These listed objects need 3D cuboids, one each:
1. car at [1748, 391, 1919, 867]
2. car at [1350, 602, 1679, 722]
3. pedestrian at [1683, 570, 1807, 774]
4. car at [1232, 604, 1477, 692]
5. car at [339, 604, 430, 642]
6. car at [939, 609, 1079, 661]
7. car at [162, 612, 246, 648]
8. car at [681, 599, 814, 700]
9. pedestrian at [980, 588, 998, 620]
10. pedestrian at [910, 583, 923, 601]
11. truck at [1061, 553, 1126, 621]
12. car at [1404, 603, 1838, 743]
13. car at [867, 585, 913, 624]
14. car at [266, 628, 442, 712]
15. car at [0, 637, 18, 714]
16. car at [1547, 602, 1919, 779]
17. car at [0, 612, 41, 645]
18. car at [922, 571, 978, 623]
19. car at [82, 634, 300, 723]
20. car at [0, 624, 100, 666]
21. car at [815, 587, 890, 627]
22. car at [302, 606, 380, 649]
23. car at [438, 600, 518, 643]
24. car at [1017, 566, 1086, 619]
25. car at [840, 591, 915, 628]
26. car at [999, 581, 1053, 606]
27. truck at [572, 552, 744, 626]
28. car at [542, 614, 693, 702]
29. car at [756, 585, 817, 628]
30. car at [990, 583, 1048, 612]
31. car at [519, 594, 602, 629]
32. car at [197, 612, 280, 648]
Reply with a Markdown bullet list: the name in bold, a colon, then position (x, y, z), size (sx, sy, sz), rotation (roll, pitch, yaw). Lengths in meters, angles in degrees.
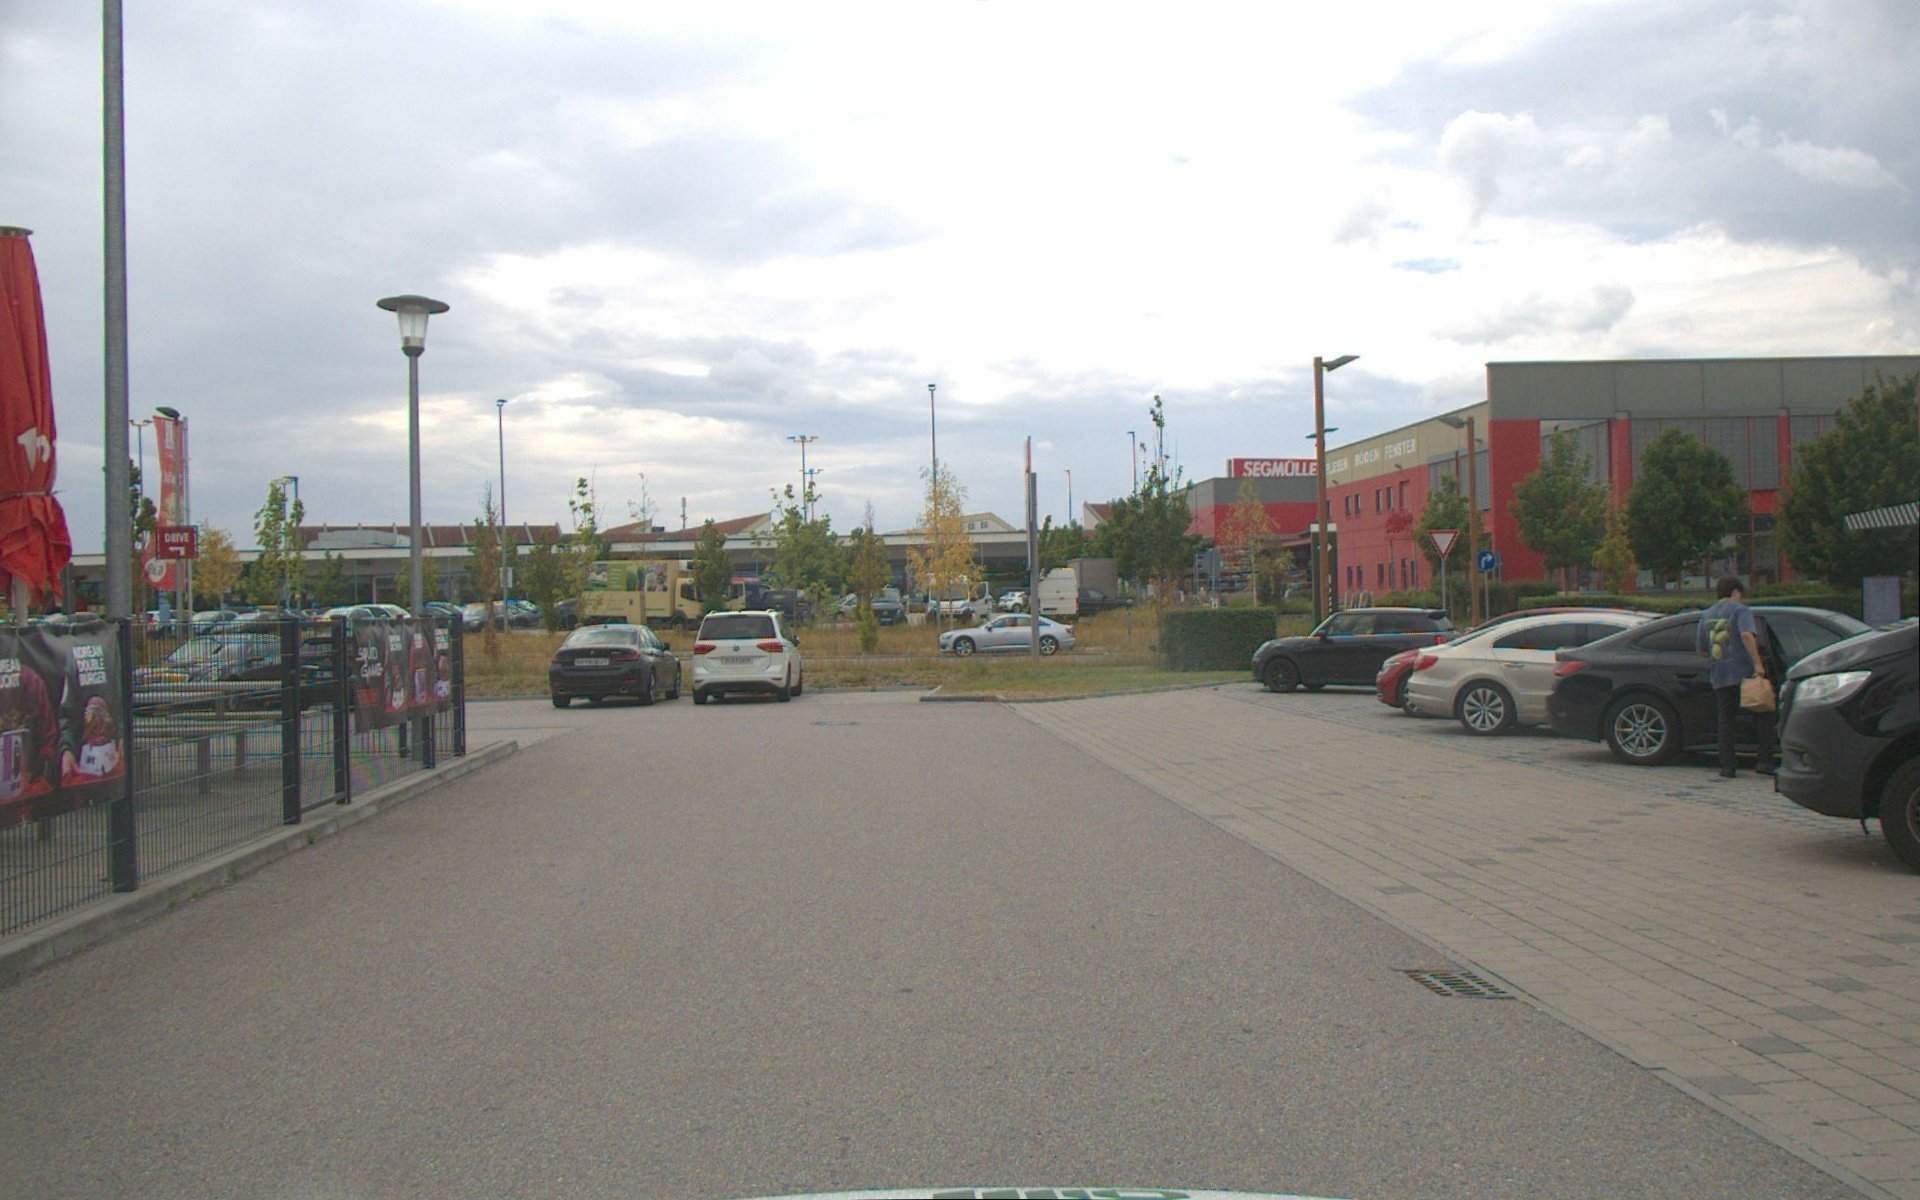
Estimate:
- **car**: position (7.925, 0.116, 8.336), size (6.872, 2.598, 2.065), rotation (-1, -1, 36)
- **car**: position (7.458, 0.788, 22.407), size (3.920, 1.490, 1.681), rotation (-1, 0, 36)
- **pedestrian**: position (6.844, 0.616, 14.422), size (0.826, 1.707, 0.746), rotation (-1, -2, 37)
- **car**: position (6.885, 0.806, 29.016), size (3.849, 1.437, 1.682), rotation (-1, 0, 34)
- **car**: position (-29.507, 1.175, 84.821), size (3.903, 1.802, 2.001), rotation (-1, 1, 18)
- **car**: position (1.668, 1.206, 57.521), size (4.740, 1.579, 1.802), rotation (-2, 1, -1)
- **car**: position (-37.527, 1.490, 82.216), size (1.728, 1.566, 4.059), rotation (-1, 1, 10)
- **car**: position (-3.912, 0.936, 31.136), size (1.945, 1.743, 4.371), rotation (-1, -2, -1)
- **pedestrian**: position (1.341, 0.171, 76.173), size (0.769, 1.454, 0.978), rotation (-2, 1, -1)
- **pedestrian**: position (-3.581, -0.695, 136.331), size (0.647, 1.454, 0.787), rotation (-2, 1, -40)
- **truck**: position (7.849, -0.856, 98.207), size (2.596, 3.808, 8.251), rotation (-2, 1, -4)
- **car**: position (7.558, 0.771, 19.101), size (4.371, 1.437, 1.747), rotation (-1, 0, 36)
- **car**: position (-3.242, 0.185, 76.647), size (2.029, 1.667, 5.068), rotation (-1, 1, -3)
- **car**: position (-11.283, 1.291, 31.081), size (1.844, 1.437, 4.069), rotation (-1, -2, -1)
- **car**: position (-20.851, 1.517, 32.379), size (1.878, 1.568, 4.548), rotation (-1, -2, 6)
- **car**: position (7.849, 0.773, 15.229), size (4.321, 1.489, 1.680), rotation (-1, 0, 38)
- **car**: position (-50.202, 1.513, 86.242), size (1.951, 1.566, 4.058), rotation (-1, 1, 7)
- **car**: position (-0.502, -0.197, 77.072), size (2.360, 2.252, 6.057), rotation (-1, 1, -3)
- **car**: position (-14.165, 1.424, 30.796), size (1.866, 1.482, 4.741), rotation (-1, -2, -1)
- **car**: position (-33.603, 1.660, 60.703), size (3.375, 1.394, 1.434), rotation (-1, 1, 7)
- **car**: position (-5.972, 0.373, 91.918), size (3.915, 2.048, 1.996), rotation (-2, 1, -10)
- **car**: position (-29.921, 1.306, 80.127), size (1.952, 1.802, 4.323), rotation (-2, 1, 2)
- **car**: position (-22.859, 0.993, 78.669), size (1.884, 1.802, 4.325), rotation (-1, 1, 10)
- **car**: position (4.183, -0.398, 77.091), size (2.292, 2.307, 6.500), rotation (-2, 1, -5)
- **car**: position (-4.365, 0.493, 87.732), size (3.908, 1.768, 1.890), rotation (-2, 1, -3)
- **car**: position (4.920, -0.486, 123.961), size (3.905, 1.766, 1.934), rotation (-2, 1, 0)
- **truck**: position (-14.268, -0.490, 77.902), size (8.261, 3.251, 3.019), rotation (-1, 2, 35)
- **car**: position (-6.326, 1.075, 31.040), size (1.901, 1.492, 4.515), rotation (-1, -2, -1)
- **car**: position (-8.085, 0.283, 77.401), size (2.027, 1.917, 5.072), rotation (-1, 0, 3)
- **car**: position (4.117, -0.192, 115.395), size (3.905, 1.869, 2.000), rotation (-2, 1, 0)
- **car**: position (-22.622, 0.640, 93.713), size (4.221, 1.802, 1.999), rotation (-2, 1, -3)
- **car**: position (-35.407, 1.453, 81.278), size (1.728, 1.566, 4.059), rotation (-1, 1, 10)
